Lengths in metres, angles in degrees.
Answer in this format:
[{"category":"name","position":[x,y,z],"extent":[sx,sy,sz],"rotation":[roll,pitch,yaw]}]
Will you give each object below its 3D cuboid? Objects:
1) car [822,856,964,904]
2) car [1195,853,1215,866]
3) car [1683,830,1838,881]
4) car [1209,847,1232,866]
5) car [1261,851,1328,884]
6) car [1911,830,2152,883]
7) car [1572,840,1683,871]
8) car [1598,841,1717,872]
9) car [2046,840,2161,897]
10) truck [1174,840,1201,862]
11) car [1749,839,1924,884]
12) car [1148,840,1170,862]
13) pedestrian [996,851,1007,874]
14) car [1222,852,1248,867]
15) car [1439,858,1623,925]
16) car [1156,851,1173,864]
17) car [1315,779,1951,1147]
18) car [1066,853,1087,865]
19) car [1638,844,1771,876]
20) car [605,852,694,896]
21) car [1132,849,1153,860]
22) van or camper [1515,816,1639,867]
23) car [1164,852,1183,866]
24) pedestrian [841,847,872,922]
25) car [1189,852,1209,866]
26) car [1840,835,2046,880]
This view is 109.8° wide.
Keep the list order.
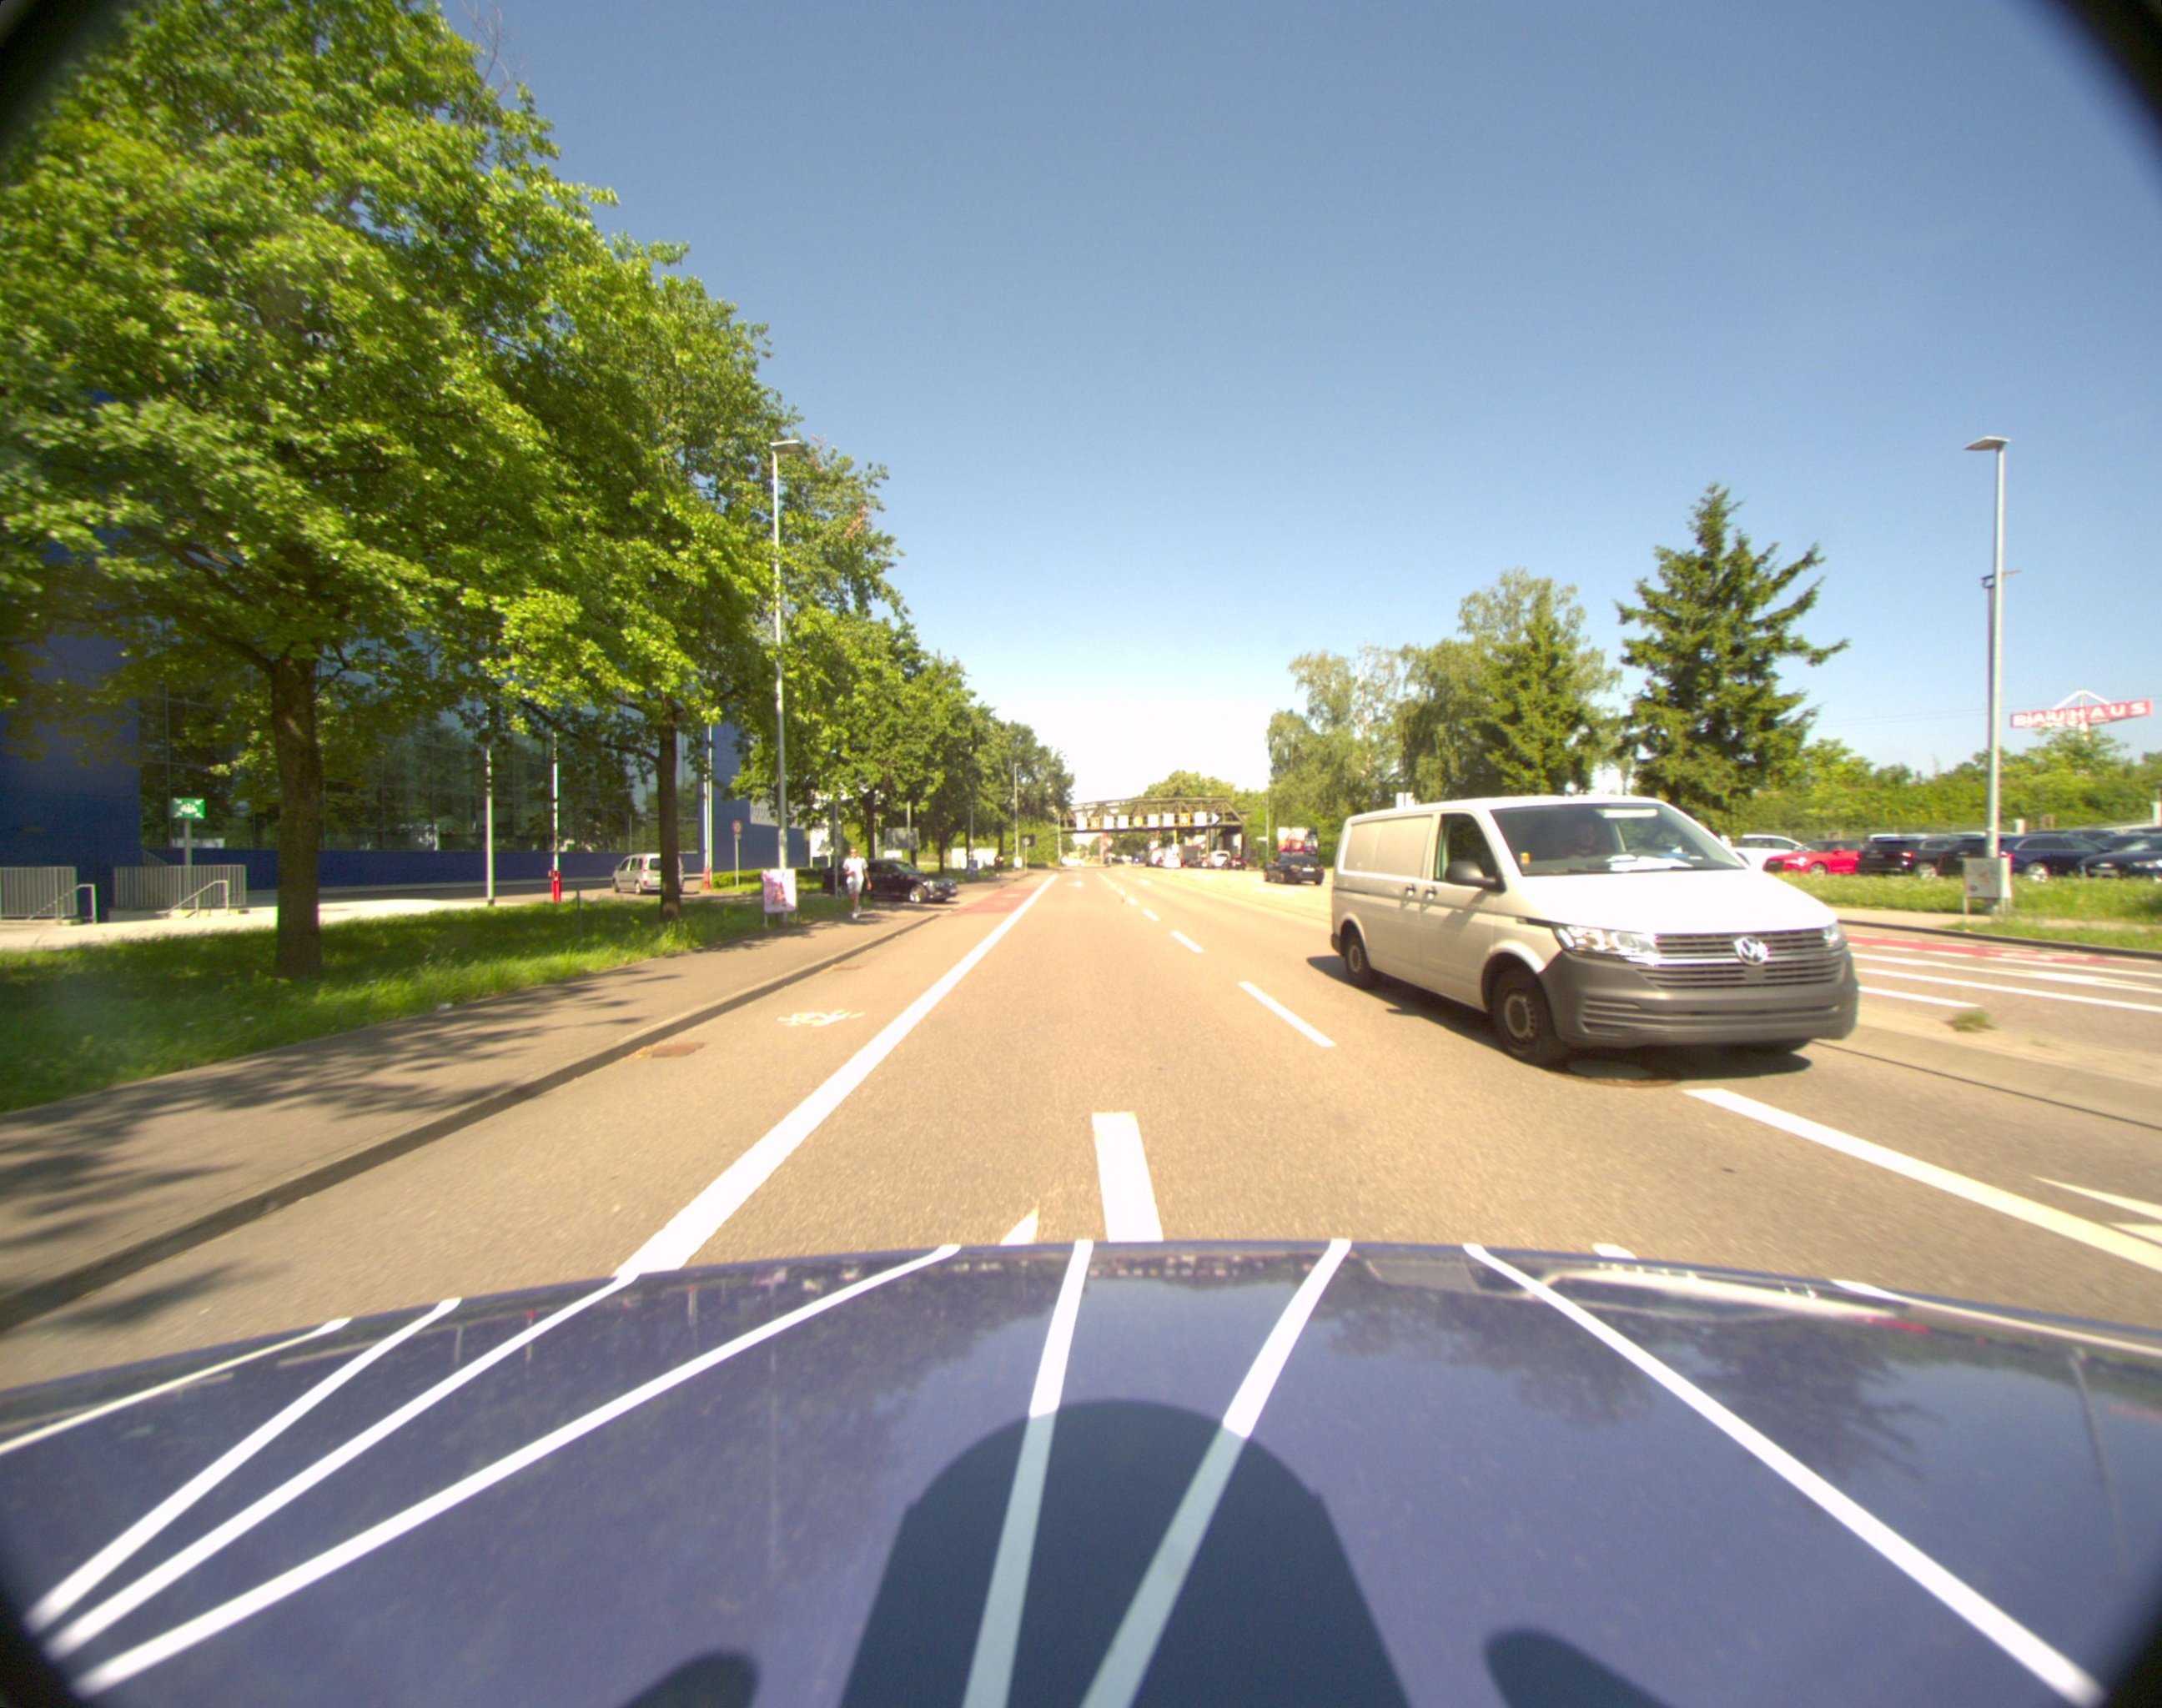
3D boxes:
[{"category":"car","position":[-6.425,0.862,26.071],"extent":[4.365,1.511,1.914],"rotation":[-1,0,17]},{"category":"car","position":[15.258,0.690,93.465],"extent":[1.773,1.485,4.178],"rotation":[1,-1,1]},{"category":"car","position":[26.454,0.050,29.701],"extent":[4.276,1.873,1.954],"rotation":[-1,0,2]},{"category":"car","position":[15.544,0.287,85.074],"extent":[1.998,2.002,5.348],"rotation":[0,0,5]},{"category":"car","position":[10.263,0.606,36.985],"extent":[1.846,1.455,4.999],"rotation":[1,0,0]},{"category":"car","position":[26.799,0.066,21.568],"extent":[4.276,1.373,1.954],"rotation":[-1,0,2]},{"category":"car","position":[26.824,0.080,37.384],"extent":[4.095,1.430,1.744],"rotation":[-1,0,6]},{"category":"car","position":[26.524,0.114,35.075],"extent":[4.095,1.346,1.744],"rotation":[-1,1,6]},{"category":"car","position":[27.414,0.313,18.864],"extent":[4.276,1.343,1.954],"rotation":[-1,0,2]},{"category":"truck","position":[14.995,-0.390,107.452],"extent":[2.347,3.070,7.067],"rotation":[-1,0,-3]},{"category":"car","position":[27.083,0.251,27.373],"extent":[4.276,1.495,1.954],"rotation":[-1,0,2]},{"category":"car","position":[10.390,-0.374,102.043],"extent":[1.999,2.788,6.936],"rotation":[1,0,-1]},{"category":"pedestrian","position":[-5.800,0.615,55.247],"extent":[0.648,1.594,0.846],"rotation":[-1,1,1]},{"category":"car","position":[15.334,0.532,75.783],"extent":[1.998,1.405,4.683],"rotation":[-1,0,6]},{"category":"car","position":[10.706,0.830,18.456],"extent":[1.788,1.406,3.997],"rotation":[1,0,-6]},{"category":"car","position":[10.370,0.454,94.568],"extent":[1.773,1.485,4.178],"rotation":[1,-1,1]},{"category":"car","position":[3.782,0.591,6.624],"extent":[1.887,1.982,4.974],"rotation":[-1,0,-1]},{"category":"car","position":[-0.866,0.998,147.741],"extent":[3.996,2.001,2.001],"rotation":[-3,-1,4]},{"category":"car","position":[26.254,0.241,32.091],"extent":[4.096,1.286,1.744],"rotation":[-1,0,2]},{"category":"car","position":[-18.873,0.830,33.145],"extent":[4.168,1.818,1.915],"rotation":[0,1,38]},{"category":"car","position":[12.677,0.080,156.974],"extent":[3.996,2.001,2.212],"rotation":[-3,-1,2]},{"category":"van or camper","position":[26.912,-0.641,41.334],"extent":[5.393,2.456,2.000],"rotation":[-3,-1,-2]},{"category":"car","position":[10.485,0.565,86.348],"extent":[1.647,1.485,3.829],"rotation":[1,-1,-1]},{"category":"pedestrian","position":[-5.616,0.755,19.061],"extent":[0.536,1.831,0.727],"rotation":[-1,1,0]},{"category":"car","position":[15.444,0.686,99.783],"extent":[1.989,1.679,4.288],"rotation":[1,-1,1]},{"category":"car","position":[27.386,0.098,24.271],"extent":[4.276,1.320,1.954],"rotation":[-1,0,2]}]
